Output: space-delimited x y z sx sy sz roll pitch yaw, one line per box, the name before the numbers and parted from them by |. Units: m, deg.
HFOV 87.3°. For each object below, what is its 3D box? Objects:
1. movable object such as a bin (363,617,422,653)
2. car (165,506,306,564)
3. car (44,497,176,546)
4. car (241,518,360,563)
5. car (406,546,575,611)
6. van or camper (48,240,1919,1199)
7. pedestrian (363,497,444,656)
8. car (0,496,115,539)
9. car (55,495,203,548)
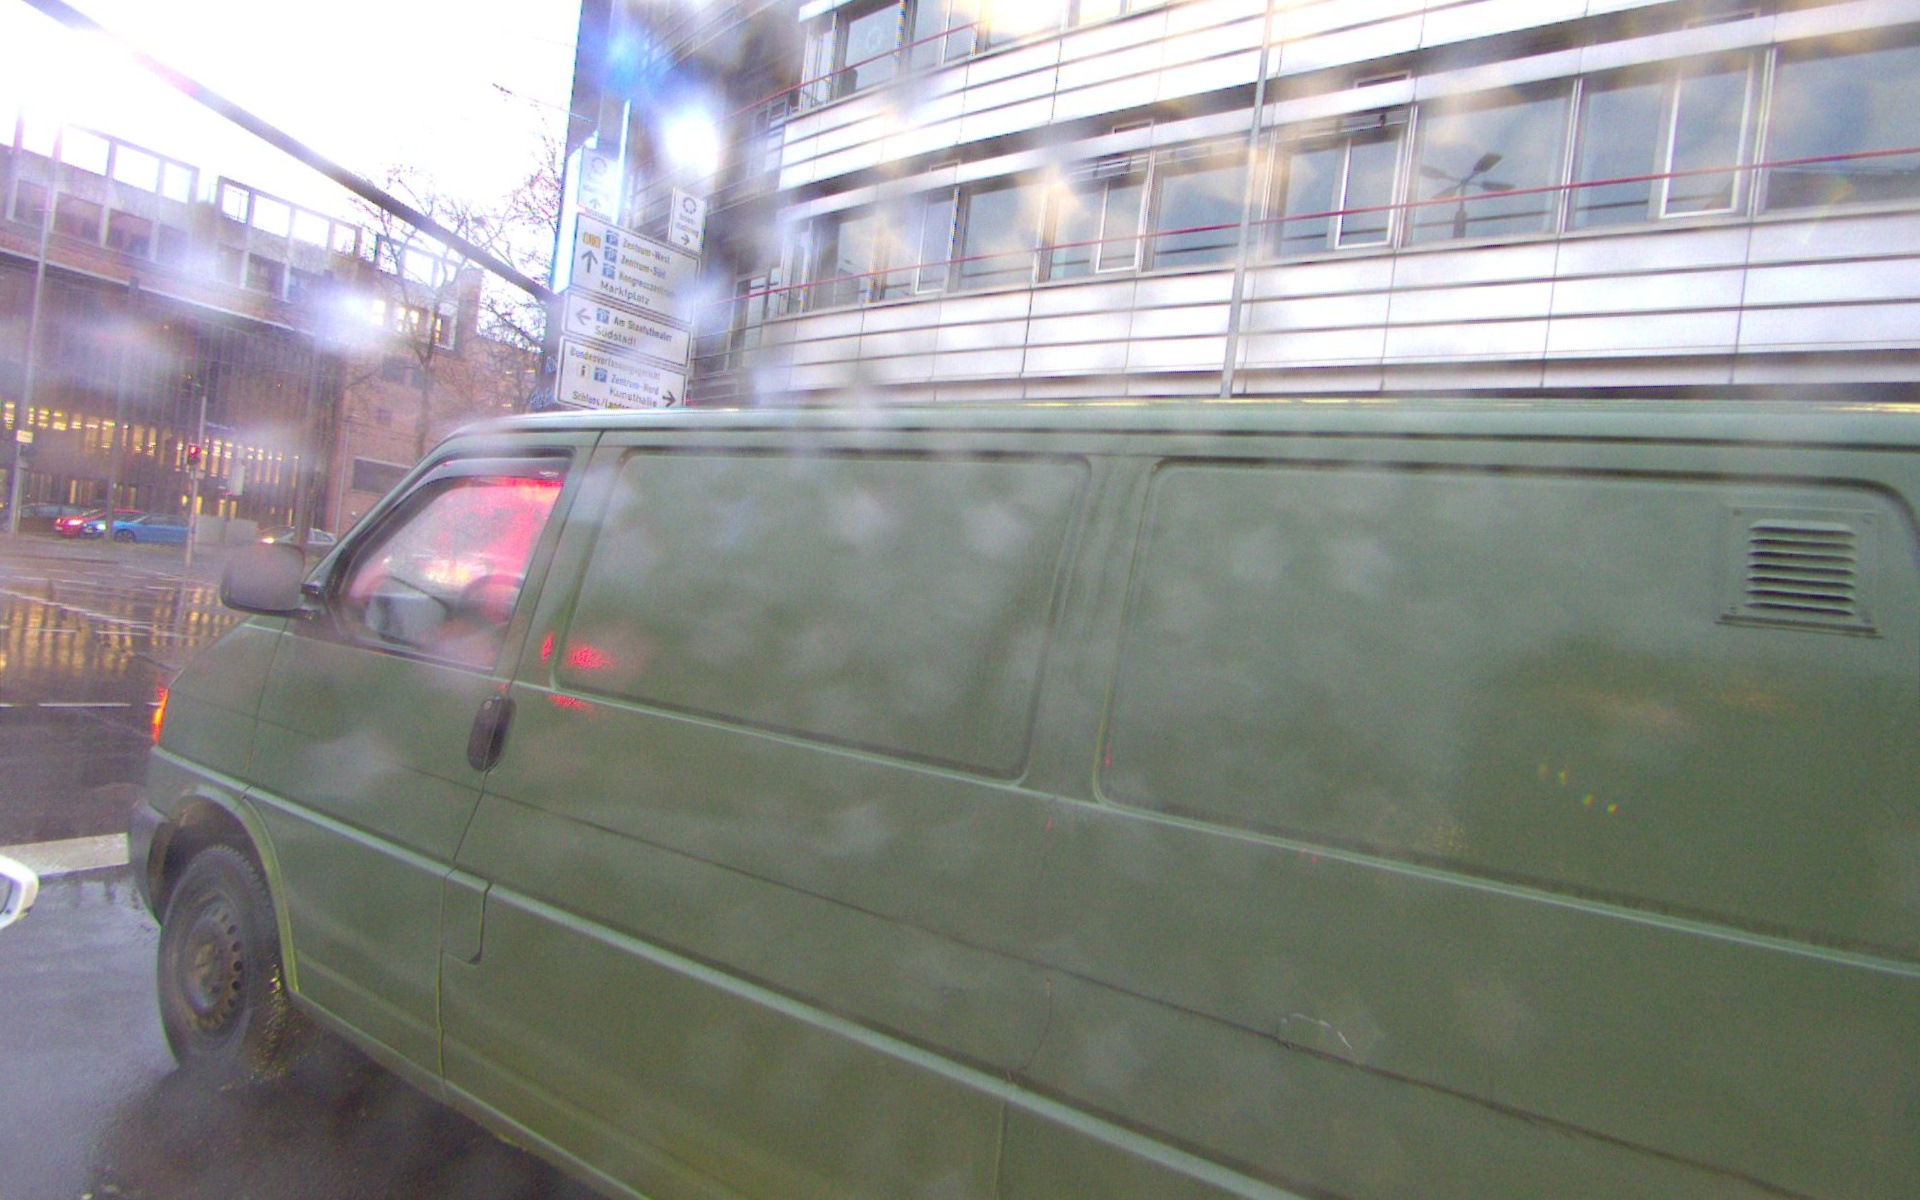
movable object such as a bin | -8.466 0.531 15.027 0.306 0.475 0.679 6 -1 26
car | -28.294 -2.511 39.431 1.814 1.523 3.997 11 1 26
car | -35.473 -3.251 42.091 1.814 1.278 3.729 11 1 26
car | -29.627 -2.660 45.295 1.814 1.304 3.997 11 1 26
car | -15.247 -0.641 33.017 2.013 1.580 4.832 7 0 23
van or camper | -0.321 0.534 2.617 4.345 1.929 1.760 7 -1 32
pedestrian | -8.041 -0.325 14.556 0.609 2.210 0.576 6 0 26
car | -39.201 -3.565 43.199 1.965 1.326 3.994 7 0 28
car | -32.431 -3.035 39.373 1.814 1.278 3.997 11 1 26
